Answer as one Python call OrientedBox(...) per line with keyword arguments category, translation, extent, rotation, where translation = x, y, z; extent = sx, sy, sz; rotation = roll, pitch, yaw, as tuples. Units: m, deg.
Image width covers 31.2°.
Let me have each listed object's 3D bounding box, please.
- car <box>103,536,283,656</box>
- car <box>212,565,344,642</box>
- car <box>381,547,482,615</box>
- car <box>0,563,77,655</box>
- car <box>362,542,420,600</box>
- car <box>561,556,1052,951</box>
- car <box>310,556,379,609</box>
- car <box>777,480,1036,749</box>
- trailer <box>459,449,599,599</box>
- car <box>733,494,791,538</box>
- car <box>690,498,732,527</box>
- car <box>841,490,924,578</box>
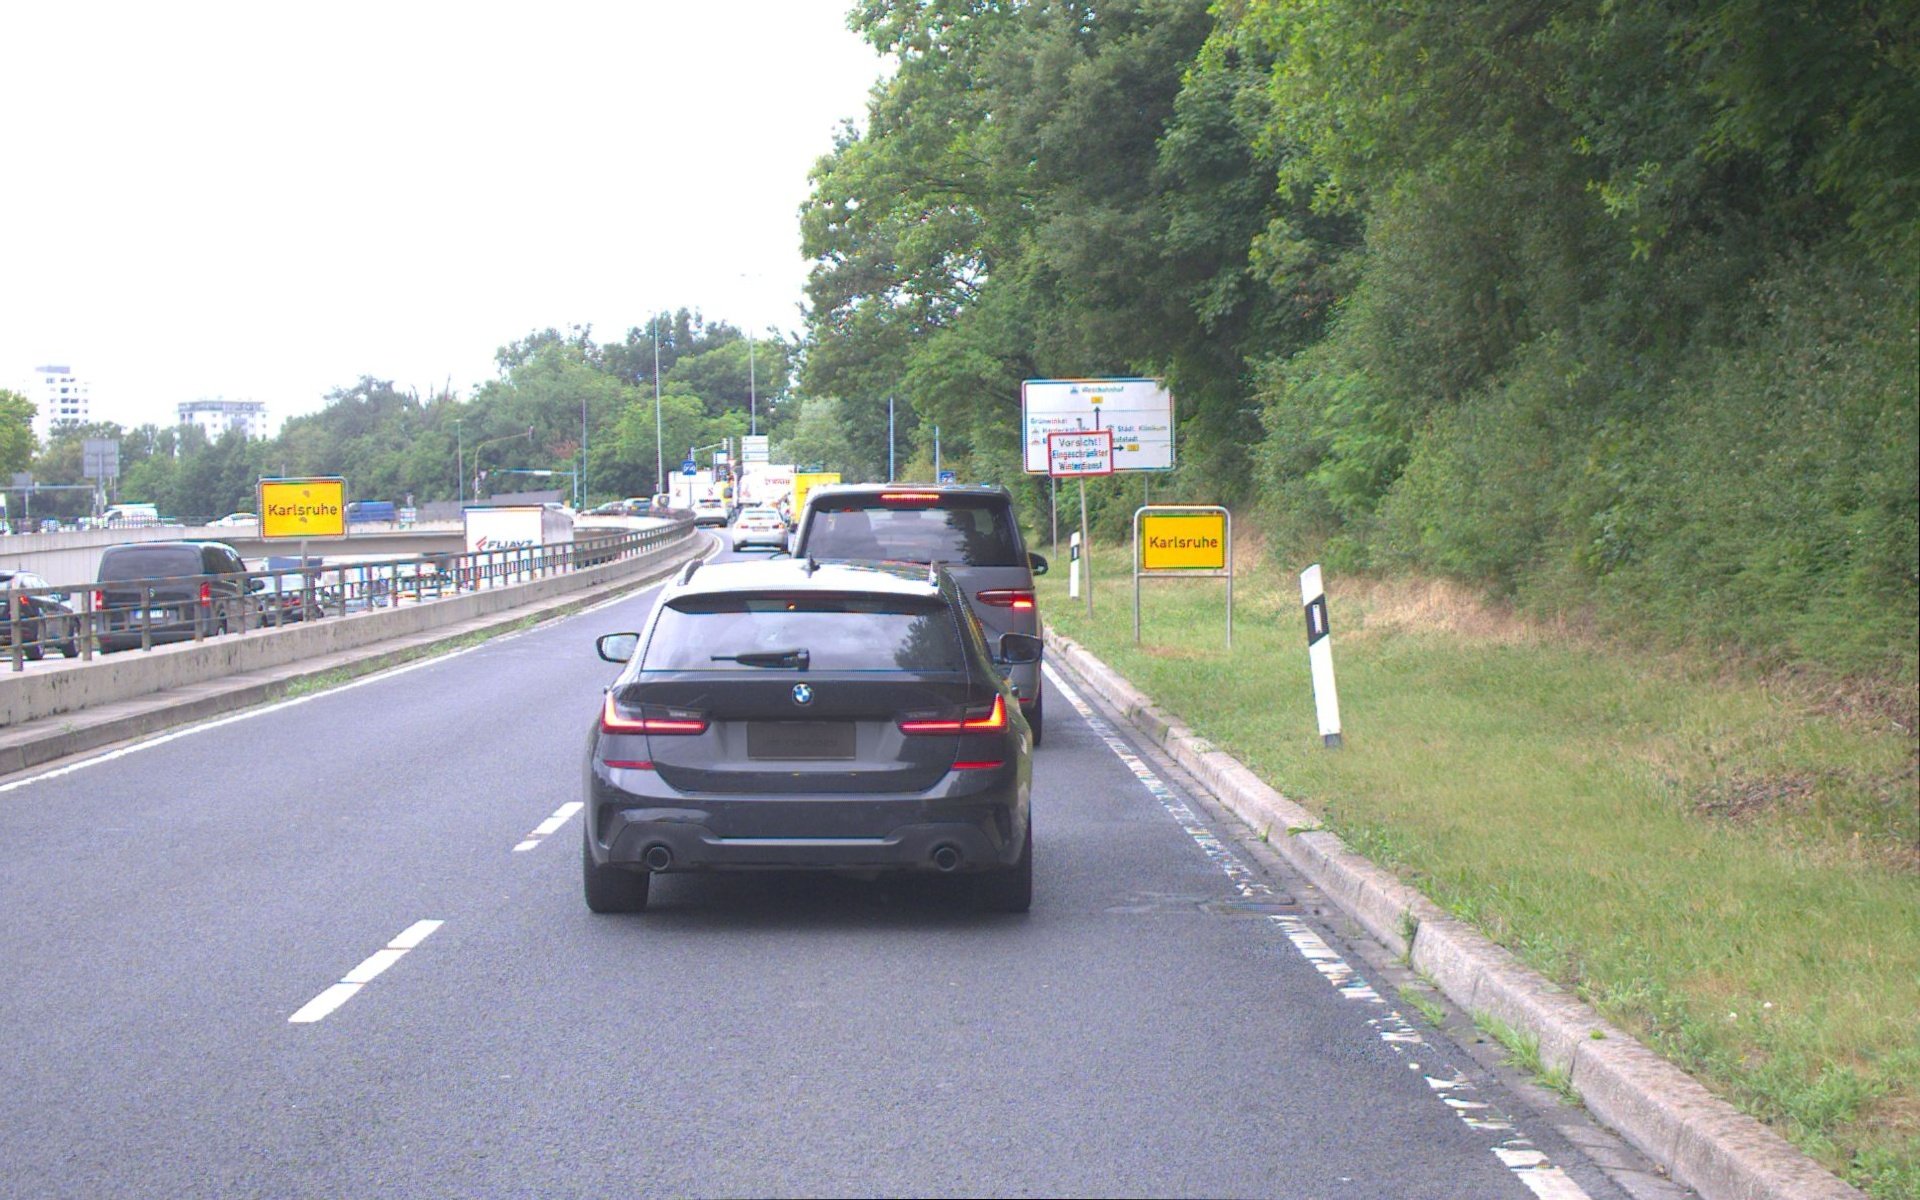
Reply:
OrientedBox(category="car", translation=(-12.264, -0.105, 55.243), extent=(1.993, 1.845, 4.812), rotation=(0, 1, -2))
OrientedBox(category="car", translation=(-13.554, 0.043, 68.532), extent=(1.712, 1.452, 4.666), rotation=(0, 1, 0))
OrientedBox(category="car", translation=(-13.642, -0.515, 88.918), extent=(1.946, 1.686, 4.507), rotation=(-1, 1, 0))
OrientedBox(category="car", translation=(-17.766, 0.147, 64.083), extent=(1.687, 1.602, 4.008), rotation=(1, 1, -2))
OrientedBox(category="car", translation=(-20.392, -1.049, 123.290), extent=(1.443, 2.037, 3.680), rotation=(-1, 1, 0))
OrientedBox(category="car", translation=(-0.663, 0.550, 14.942), extent=(1.846, 1.461, 4.001), rotation=(0, 1, -3))
OrientedBox(category="car", translation=(-19.906, -0.574, 111.249), extent=(1.687, 1.626, 3.735), rotation=(1, 1, -2))
OrientedBox(category="car", translation=(-0.395, 0.066, 25.867), extent=(1.796, 1.865, 4.000), rotation=(0, 1, -1))
OrientedBox(category="trailer", translation=(-14.465, -2.527, 116.532), extent=(3.132, 4.709, 14.559), rotation=(1, 1, -1))
OrientedBox(category="car", translation=(-6.738, -2.865, 117.430), extent=(1.859, 1.459, 4.885), rotation=(0, 1, -2))
OrientedBox(category="car", translation=(-13.738, -4.823, 189.675), extent=(1.930, 1.590, 3.878), rotation=(-1, 1, -9))
OrientedBox(category="car", translation=(-1.396, -1.202, 62.450), extent=(1.452, 1.535, 3.225), rotation=(-1, 1, -1))
